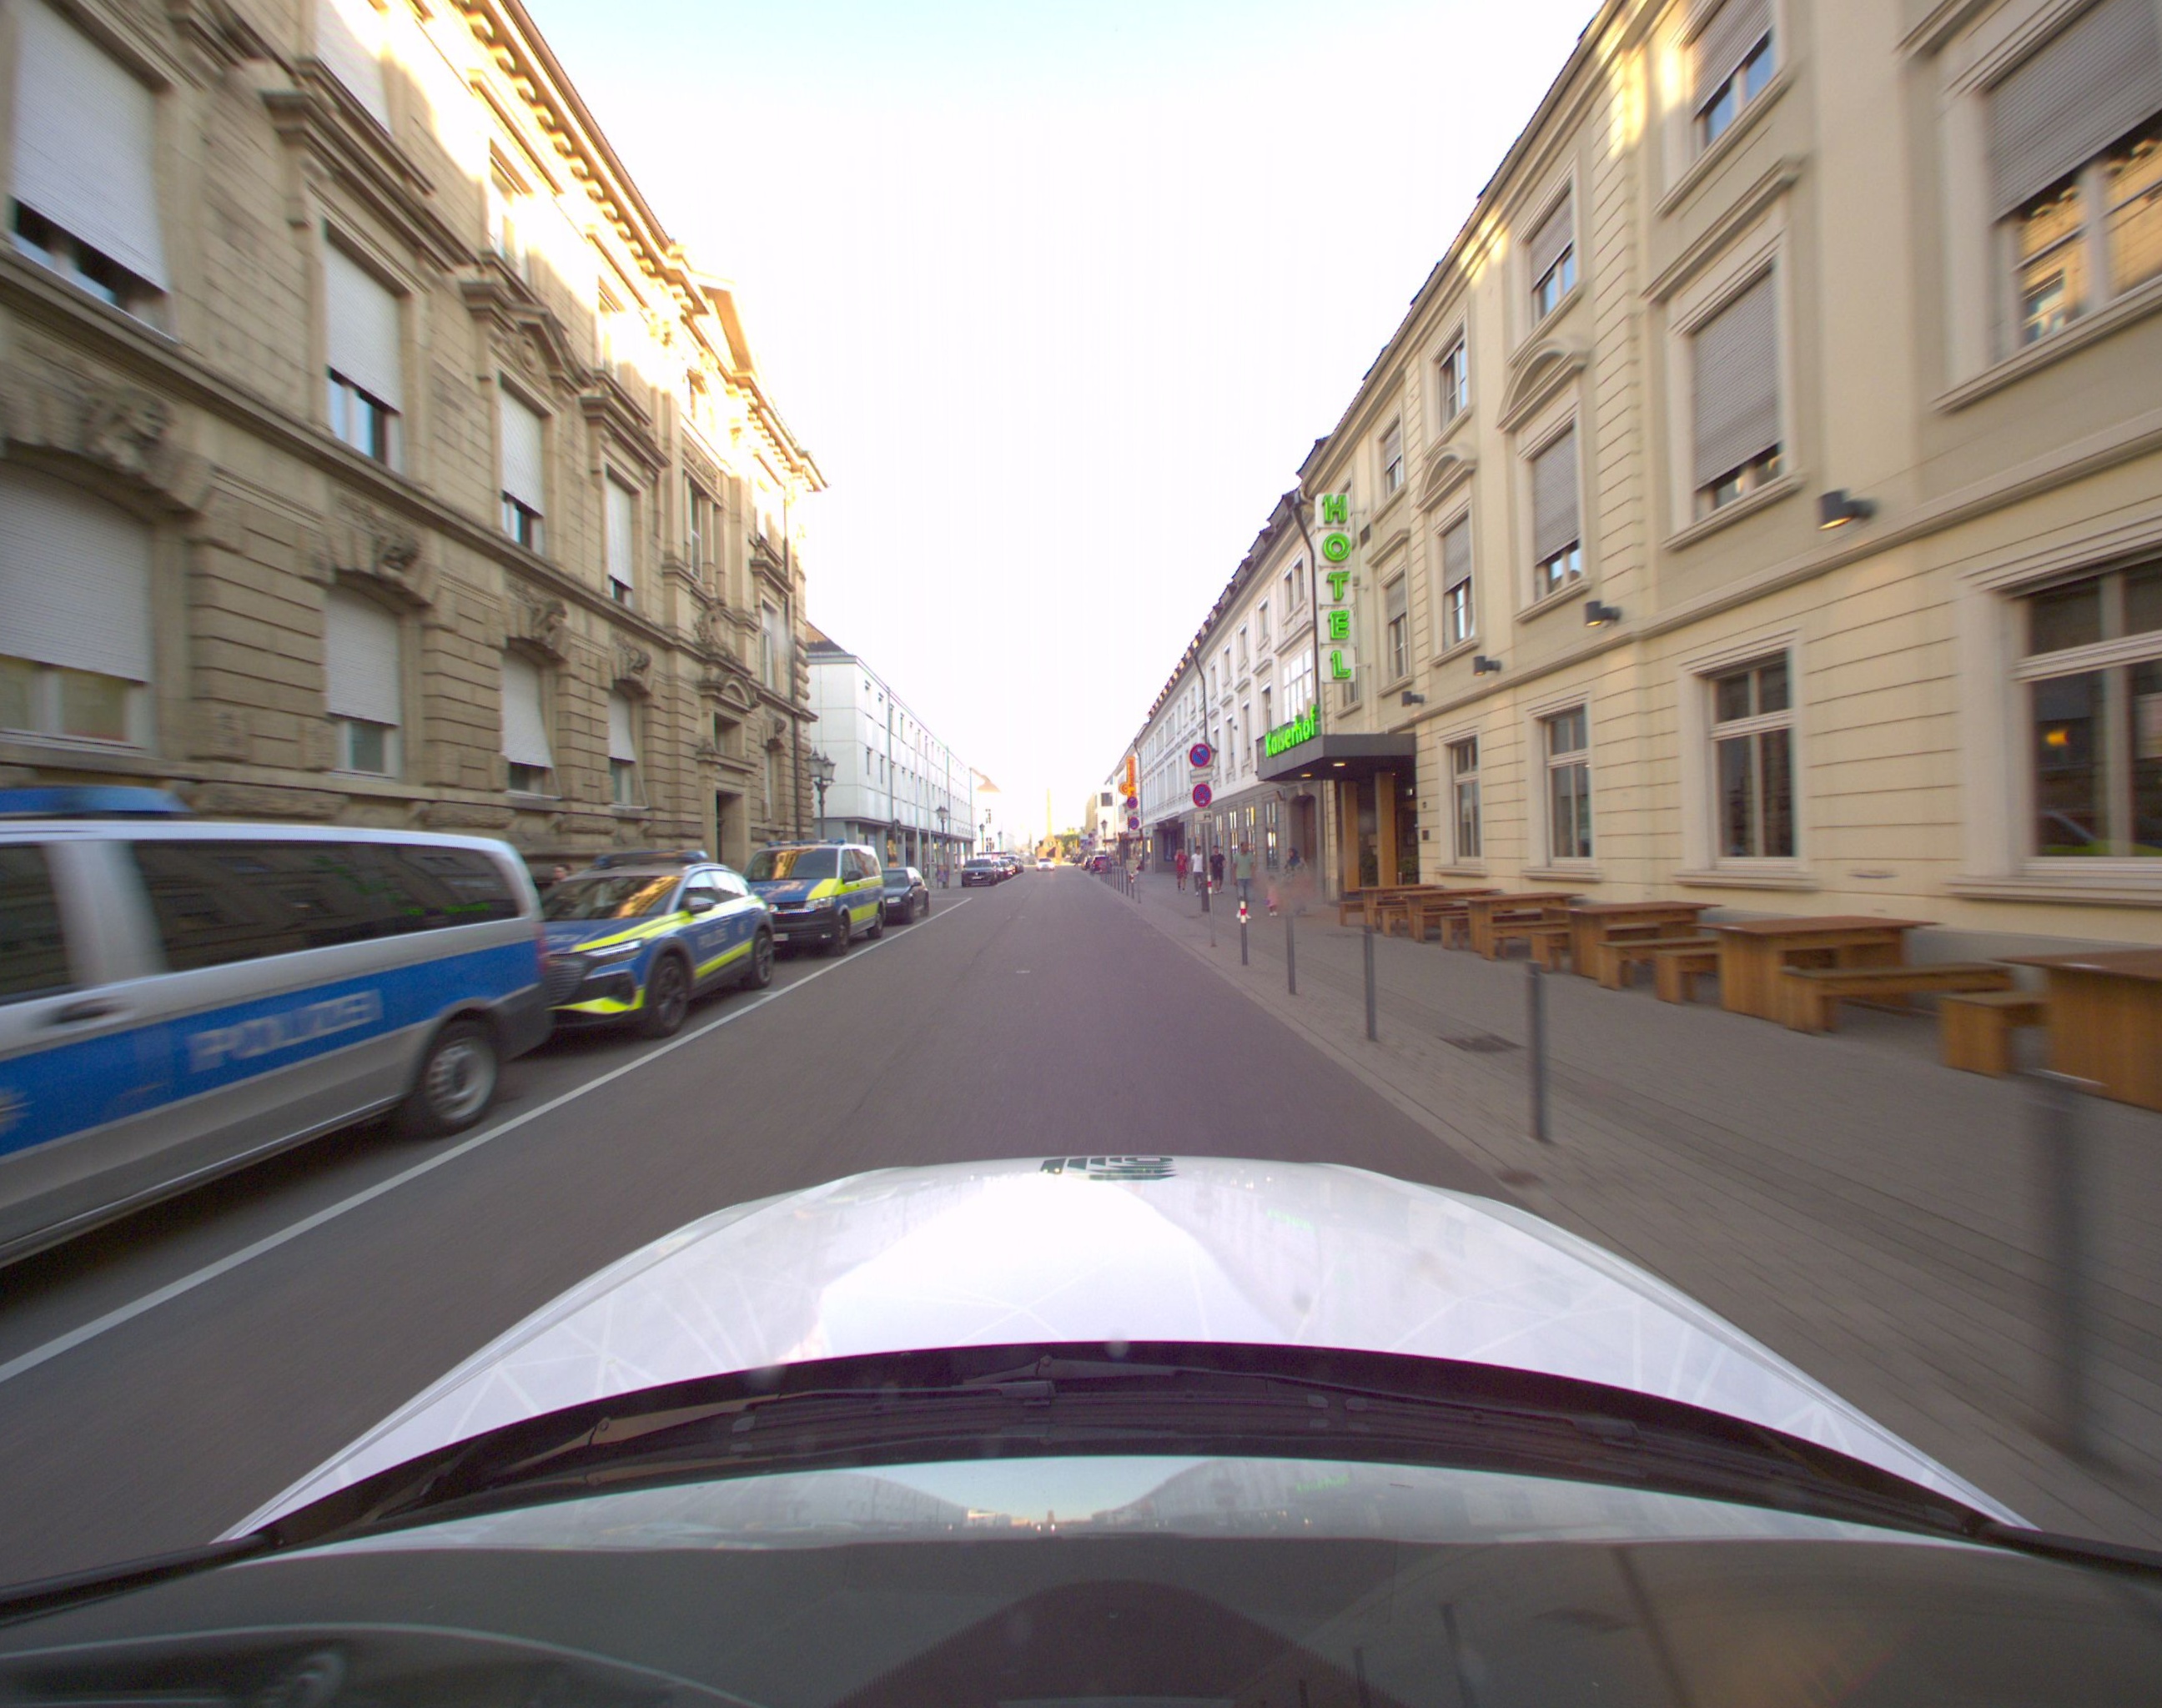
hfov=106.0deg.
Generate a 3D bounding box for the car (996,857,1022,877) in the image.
[{"bbox_3d":[-6.669,1.192,75.902,1.988,1.728,4.513,-3,0,-1],"label":"car"}]

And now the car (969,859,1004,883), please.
[{"bbox_3d":[-6.157,1.099,53.315,1.780,1.408,4.086,-2,0,-1],"label":"car"}]

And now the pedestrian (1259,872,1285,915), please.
[{"bbox_3d":[4.523,0.924,19.343,0.458,0.980,0.558,-2,0,-1],"label":"pedestrian"}]

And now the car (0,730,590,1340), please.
[{"bbox_3d":[-4.729,0.659,3.580,1.988,2.087,5.204,-2,0,-1],"label":"car"}]

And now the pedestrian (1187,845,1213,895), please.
[{"bbox_3d":[4.227,0.554,29.017,0.745,1.730,0.881,-2,0,1],"label":"pedestrian"}]

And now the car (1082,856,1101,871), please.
[{"bbox_3d":[1.060,0.939,84.297,1.796,1.464,4.115,-2,0,-1],"label":"car"}]

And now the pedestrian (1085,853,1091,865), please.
[{"bbox_3d":[1.011,0.740,117.100,0.688,1.647,0.695,-2,0,-3],"label":"pedestrian"}]

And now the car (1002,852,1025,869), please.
[{"bbox_3d":[-6.801,0.646,82.464,1.988,1.662,3.998,-2,0,-1],"label":"car"}]

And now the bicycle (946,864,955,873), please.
[{"bbox_3d":[-15.061,1.661,94.103,0.731,0.983,2.333,-1,0,-3],"label":"bicycle"}]

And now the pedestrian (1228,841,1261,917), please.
[{"bbox_3d":[3.817,0.578,19.078,0.605,1.730,0.558,-2,0,-1],"label":"pedestrian"}]

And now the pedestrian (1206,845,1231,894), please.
[{"bbox_3d":[4.981,0.538,29.469,0.711,1.730,0.873,-2,0,0],"label":"pedestrian"}]

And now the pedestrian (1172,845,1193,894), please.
[{"bbox_3d":[3.841,0.580,30.799,0.618,1.789,0.913,-2,0,-1],"label":"pedestrian"}]

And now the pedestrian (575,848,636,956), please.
[{"bbox_3d":[-7.934,0.781,13.609,0.558,1.730,0.708,-2,0,-1],"label":"pedestrian"}]

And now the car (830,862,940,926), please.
[{"bbox_3d":[-5.171,1.001,22.041,1.988,1.494,4.162,-2,0,-1],"label":"car"}]

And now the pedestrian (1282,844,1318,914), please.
[{"bbox_3d":[5.150,0.585,19.145,0.628,1.601,0.614,-2,0,-1],"label":"pedestrian"}]

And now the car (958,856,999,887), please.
[{"bbox_3d":[-5.747,0.951,46.197,1.780,1.615,4.164,-2,0,-1],"label":"car"}]

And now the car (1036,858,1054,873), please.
[{"bbox_3d":[-3.822,1.210,86.805,1.780,1.408,4.086,-2,0,-1],"label":"car"}]

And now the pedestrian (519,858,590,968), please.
[{"bbox_3d":[-8.651,0.941,13.407,0.580,1.730,0.830,-2,0,-1],"label":"pedestrian"}]

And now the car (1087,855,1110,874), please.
[{"bbox_3d":[1.486,0.875,70.464,1.754,1.523,3.675,-2,0,-1],"label":"car"}]

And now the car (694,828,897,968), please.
[{"bbox_3d":[-4.998,0.707,15.141,1.988,2.077,4.988,-2,-1,-1],"label":"car"}]

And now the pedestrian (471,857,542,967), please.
[{"bbox_3d":[-9.424,0.930,13.376,0.605,1.730,0.702,-2,0,-1],"label":"pedestrian"}]

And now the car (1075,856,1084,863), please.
[{"bbox_3d":[-0.332,1.224,174.380,1.987,1.464,3.999,-2,0,0],"label":"car"}]

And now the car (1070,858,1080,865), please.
[{"bbox_3d":[-1.147,1.514,165.875,1.987,1.464,3.999,-2,0,0],"label":"car"}]

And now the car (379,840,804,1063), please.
[{"bbox_3d":[-4.903,0.825,9.261,1.989,1.752,4.983,-2,0,-3],"label":"car"}]
